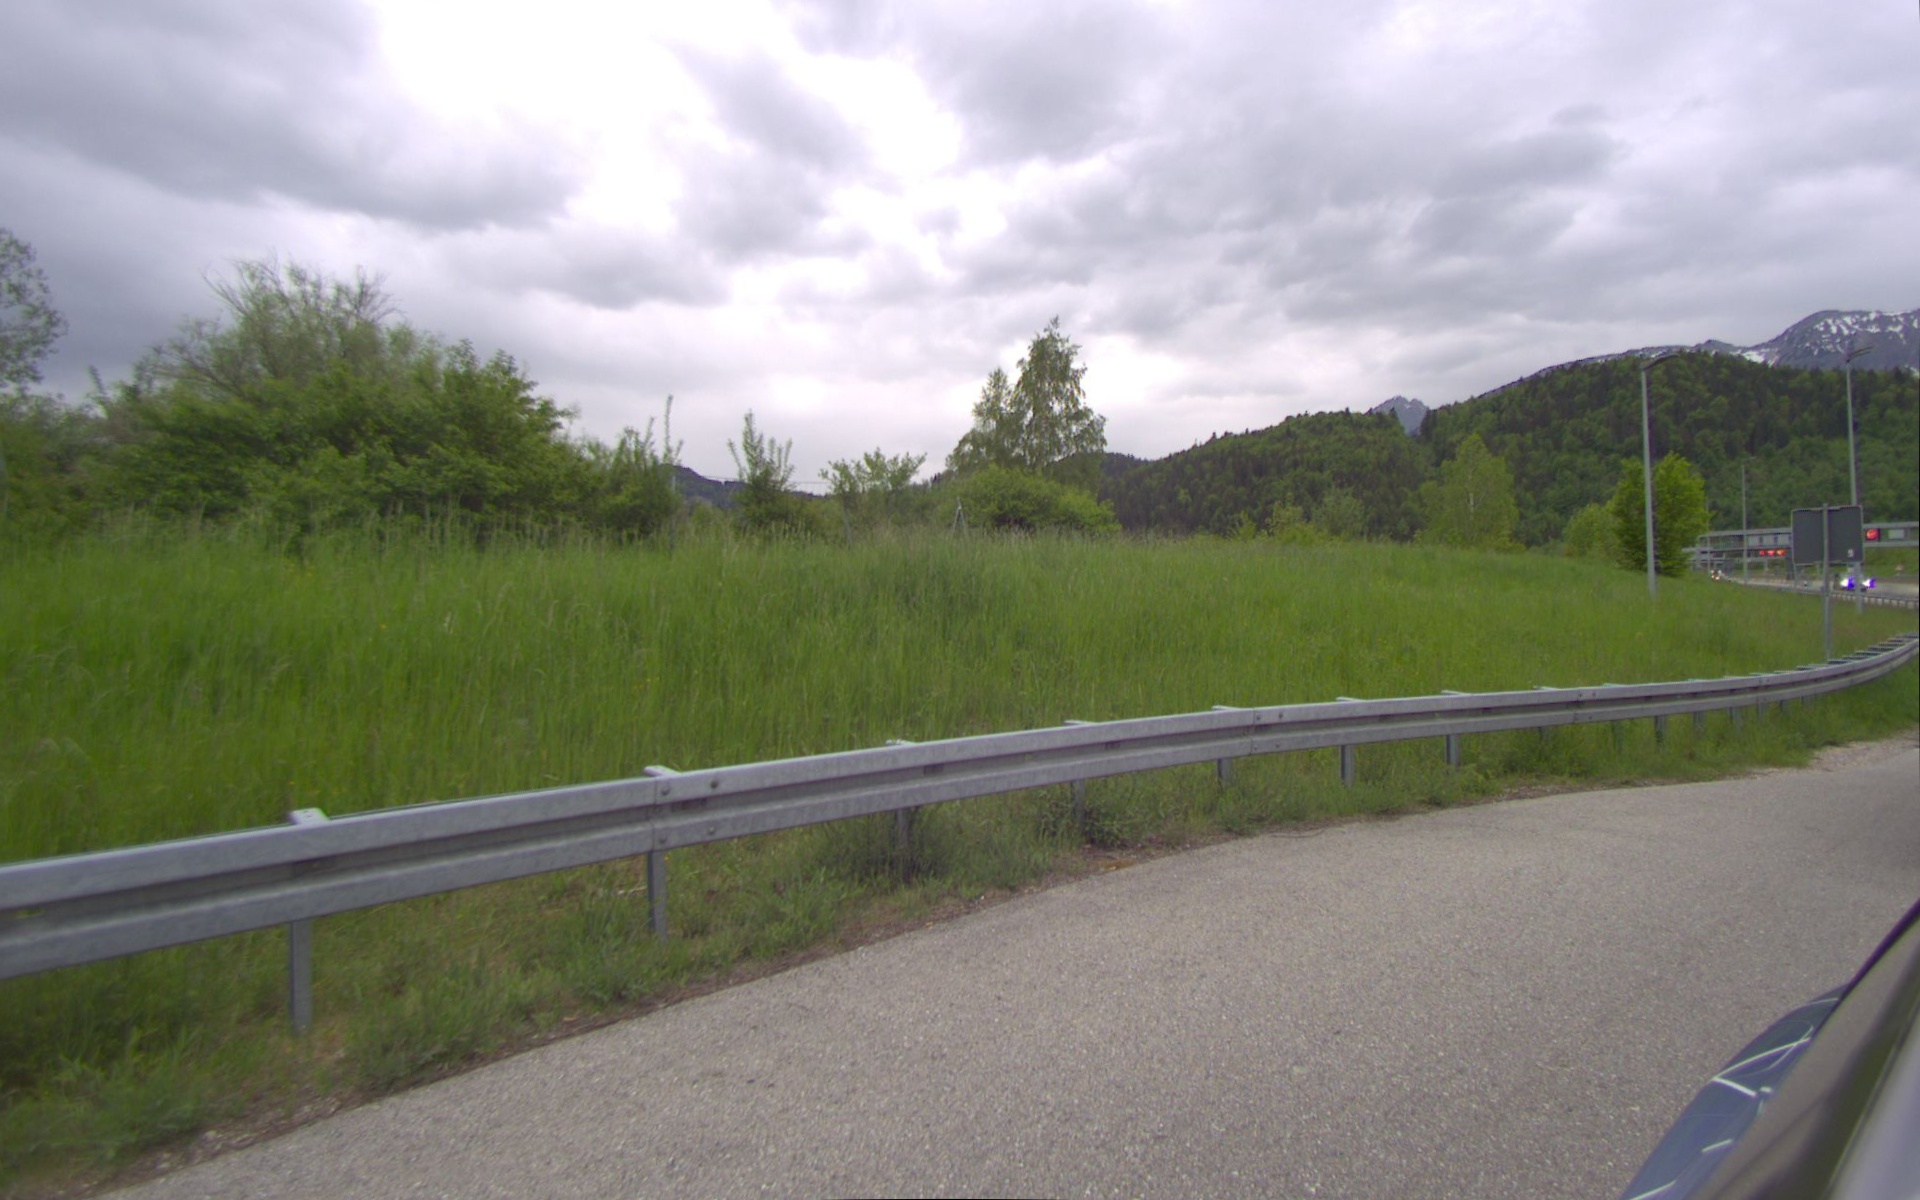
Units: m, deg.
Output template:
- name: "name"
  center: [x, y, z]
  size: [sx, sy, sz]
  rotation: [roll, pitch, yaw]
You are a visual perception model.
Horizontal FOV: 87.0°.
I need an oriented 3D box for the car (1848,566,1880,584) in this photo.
- name: "car"
  center: [83.103, -2.324, 93.078]
  size: [1.710, 1.659, 4.294]
  rotation: [1, 2, 35]
